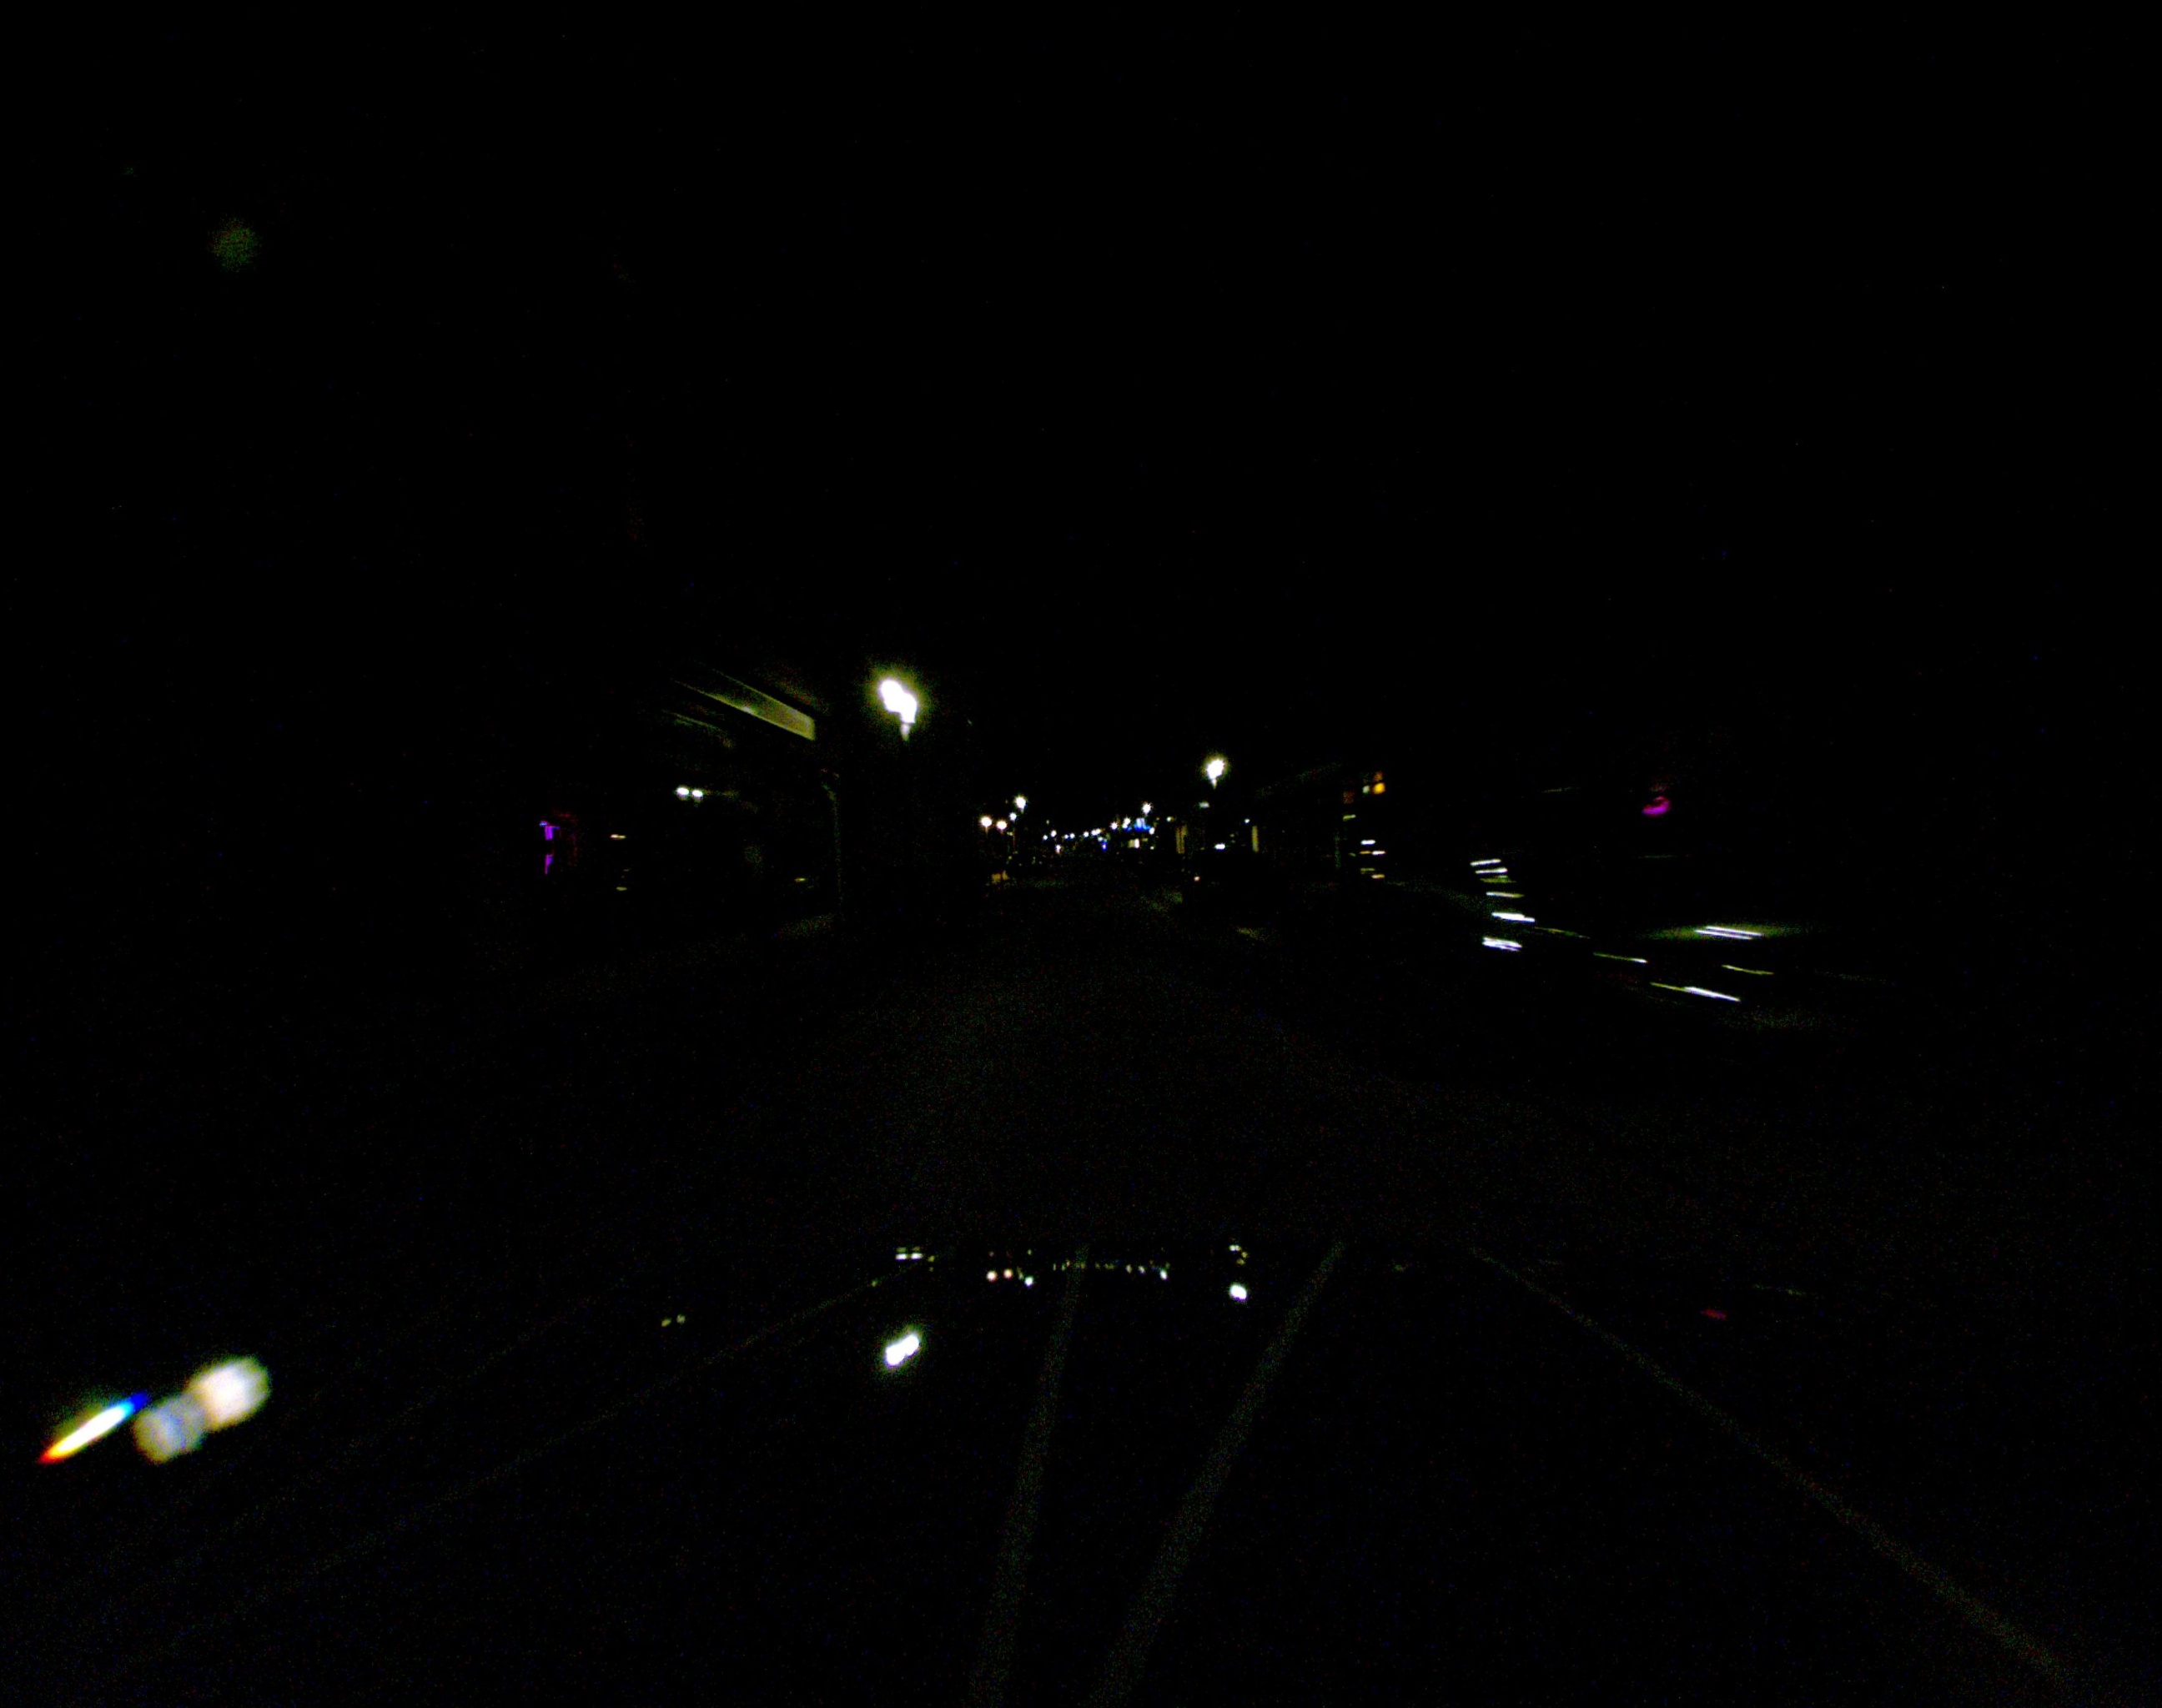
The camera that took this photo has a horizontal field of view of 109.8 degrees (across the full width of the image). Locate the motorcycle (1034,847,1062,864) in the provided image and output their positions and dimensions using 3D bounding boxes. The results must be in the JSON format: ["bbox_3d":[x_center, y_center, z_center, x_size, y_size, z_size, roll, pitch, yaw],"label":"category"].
[{"bbox_3d":[-2.830,0.149,65.291,2.266,1.383,0.662,-1,2,25],"label":"motorcycle"}]

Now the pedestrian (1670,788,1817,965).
[{"bbox_3d":[6.994,0.221,8.075,0.622,1.735,1.022,-3,1,0],"label":"pedestrian"}]

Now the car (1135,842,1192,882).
[{"bbox_3d":[3.398,0.267,32.147,1.802,1.469,4.320,-3,1,-1],"label":"car"}]

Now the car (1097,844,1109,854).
[{"bbox_3d":[3.505,-0.831,121.449,1.655,1.417,4.013,-5,1,-2],"label":"car"}]

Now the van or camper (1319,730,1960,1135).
[{"bbox_3d":[3.537,0.368,6.319,1.850,1.931,5.154,-3,1,5],"label":"van or camper"}]

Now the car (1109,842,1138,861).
[{"bbox_3d":[3.453,-0.223,62.715,1.905,1.462,4.523,-3,1,-3],"label":"car"}]

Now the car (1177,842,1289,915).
[{"bbox_3d":[3.441,0.473,18.002,1.721,1.405,4.384,-4,1,0],"label":"car"}]

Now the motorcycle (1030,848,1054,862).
[{"bbox_3d":[-3.542,0.094,68.189,2.165,1.290,0.516,-1,2,29],"label":"motorcycle"}]

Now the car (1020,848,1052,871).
[{"bbox_3d":[-3.133,0.367,53.629,1.757,1.456,4.466,0,1,3],"label":"car"}]

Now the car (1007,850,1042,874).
[{"bbox_3d":[-3.521,0.462,48.161,1.665,1.370,4.104,0,1,3],"label":"car"}]

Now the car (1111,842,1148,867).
[{"bbox_3d":[3.154,0.029,50.114,1.850,1.456,4.621,-4,1,-3],"label":"car"}]

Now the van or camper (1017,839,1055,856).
[{"bbox_3d":[-7.583,-1.111,128.588,6.061,2.519,2.157,-3,1,-31],"label":"van or camper"}]
